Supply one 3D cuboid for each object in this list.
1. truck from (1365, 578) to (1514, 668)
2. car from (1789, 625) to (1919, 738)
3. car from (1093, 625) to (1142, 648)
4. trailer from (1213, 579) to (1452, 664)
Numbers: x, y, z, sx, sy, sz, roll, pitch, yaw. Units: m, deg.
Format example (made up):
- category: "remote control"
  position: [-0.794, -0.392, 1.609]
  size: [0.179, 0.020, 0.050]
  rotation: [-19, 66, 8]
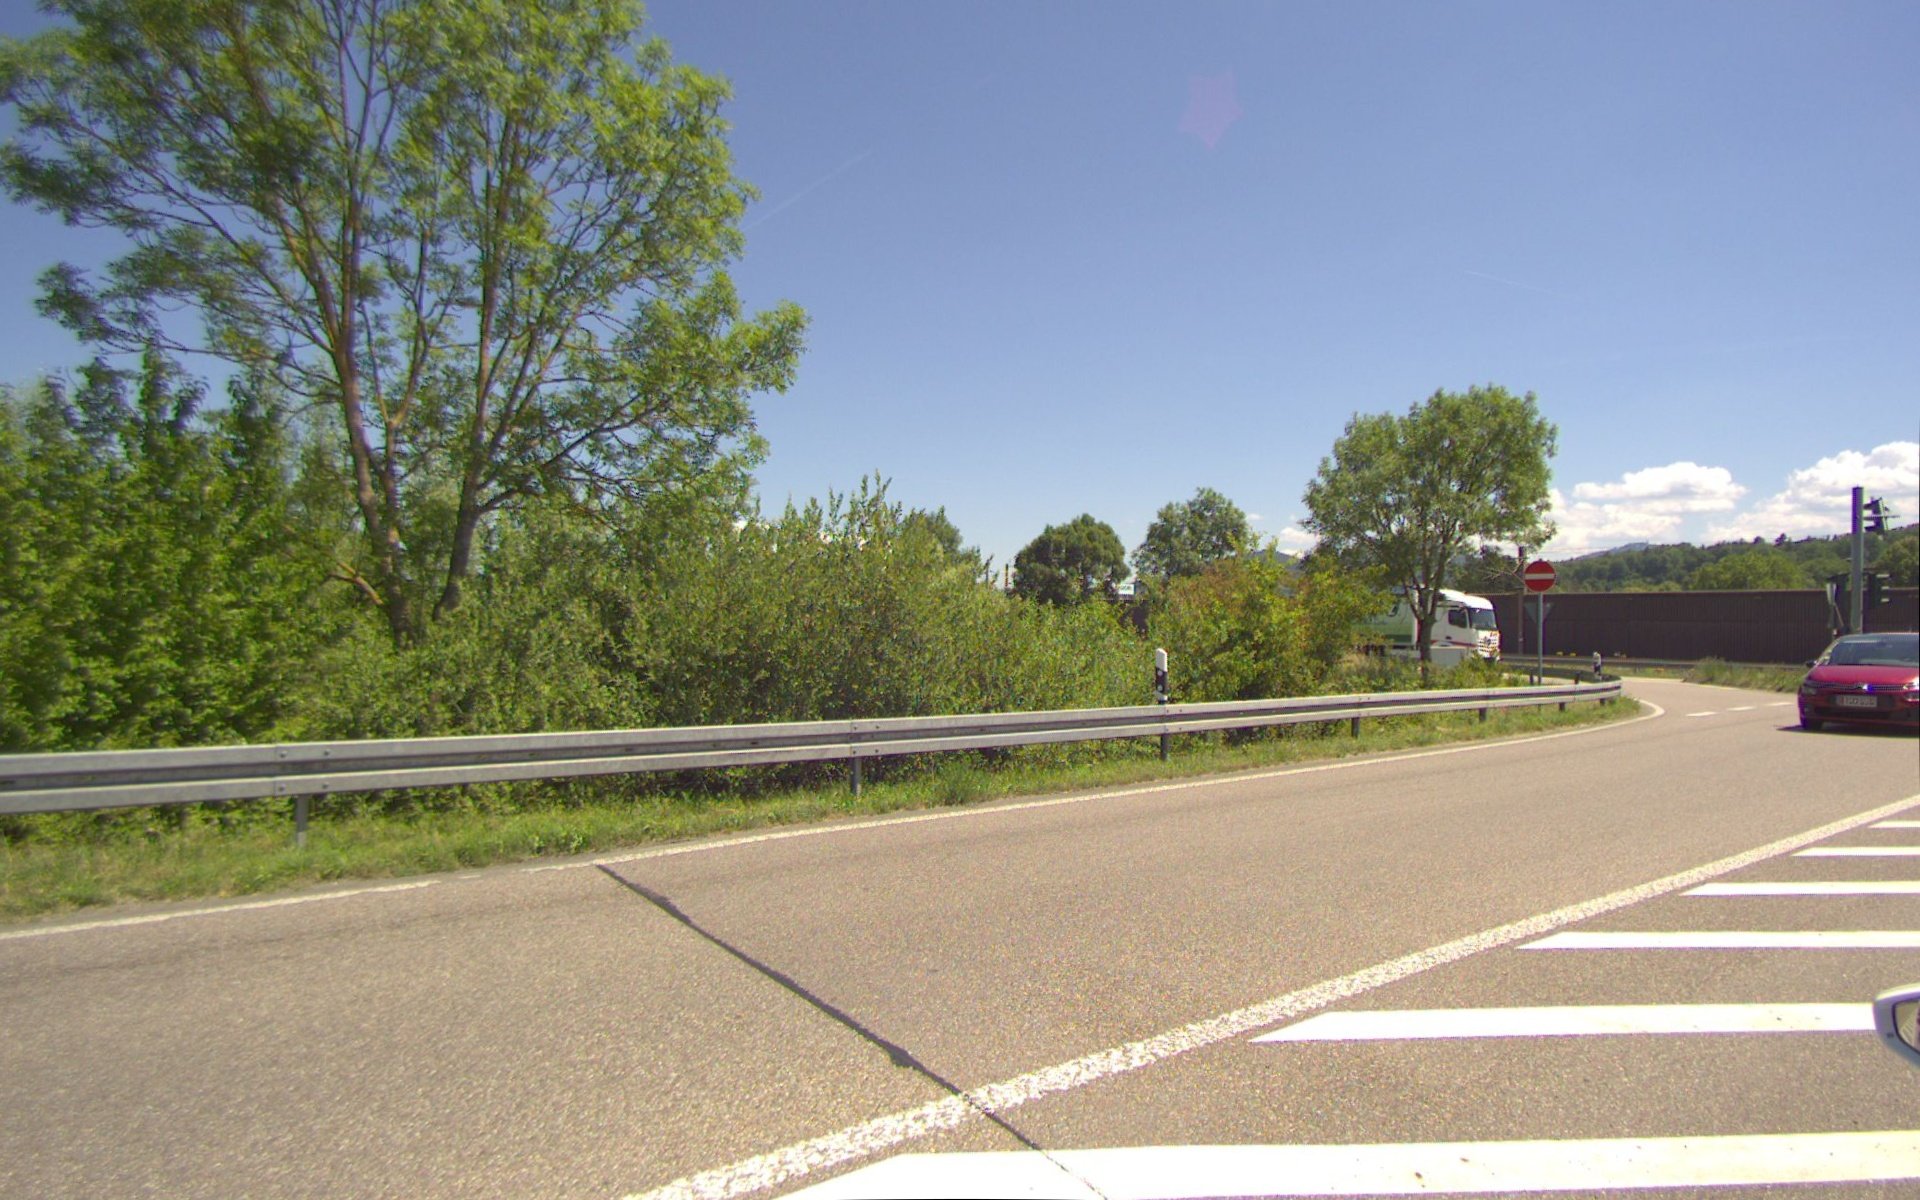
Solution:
- category: "truck"
  position: [22.899, 1.077, 48.209]
  size: [3.027, 4.007, 5.736]
  rotation: [2, -1, -31]
- category: "car"
  position: [15.831, 1.328, 17.085]
  size: [4.170, 1.708, 1.724]
  rotation: [2, -3, -37]
- category: "car"
  position: [10.931, 2.544, 69.944]
  size: [1.537, 1.484, 3.455]
  rotation: [2, -1, -31]
- category: "trailer"
  position: [19.467, 1.085, 54.019]
  size: [3.027, 4.007, 13.075]
  rotation: [2, -1, -31]
